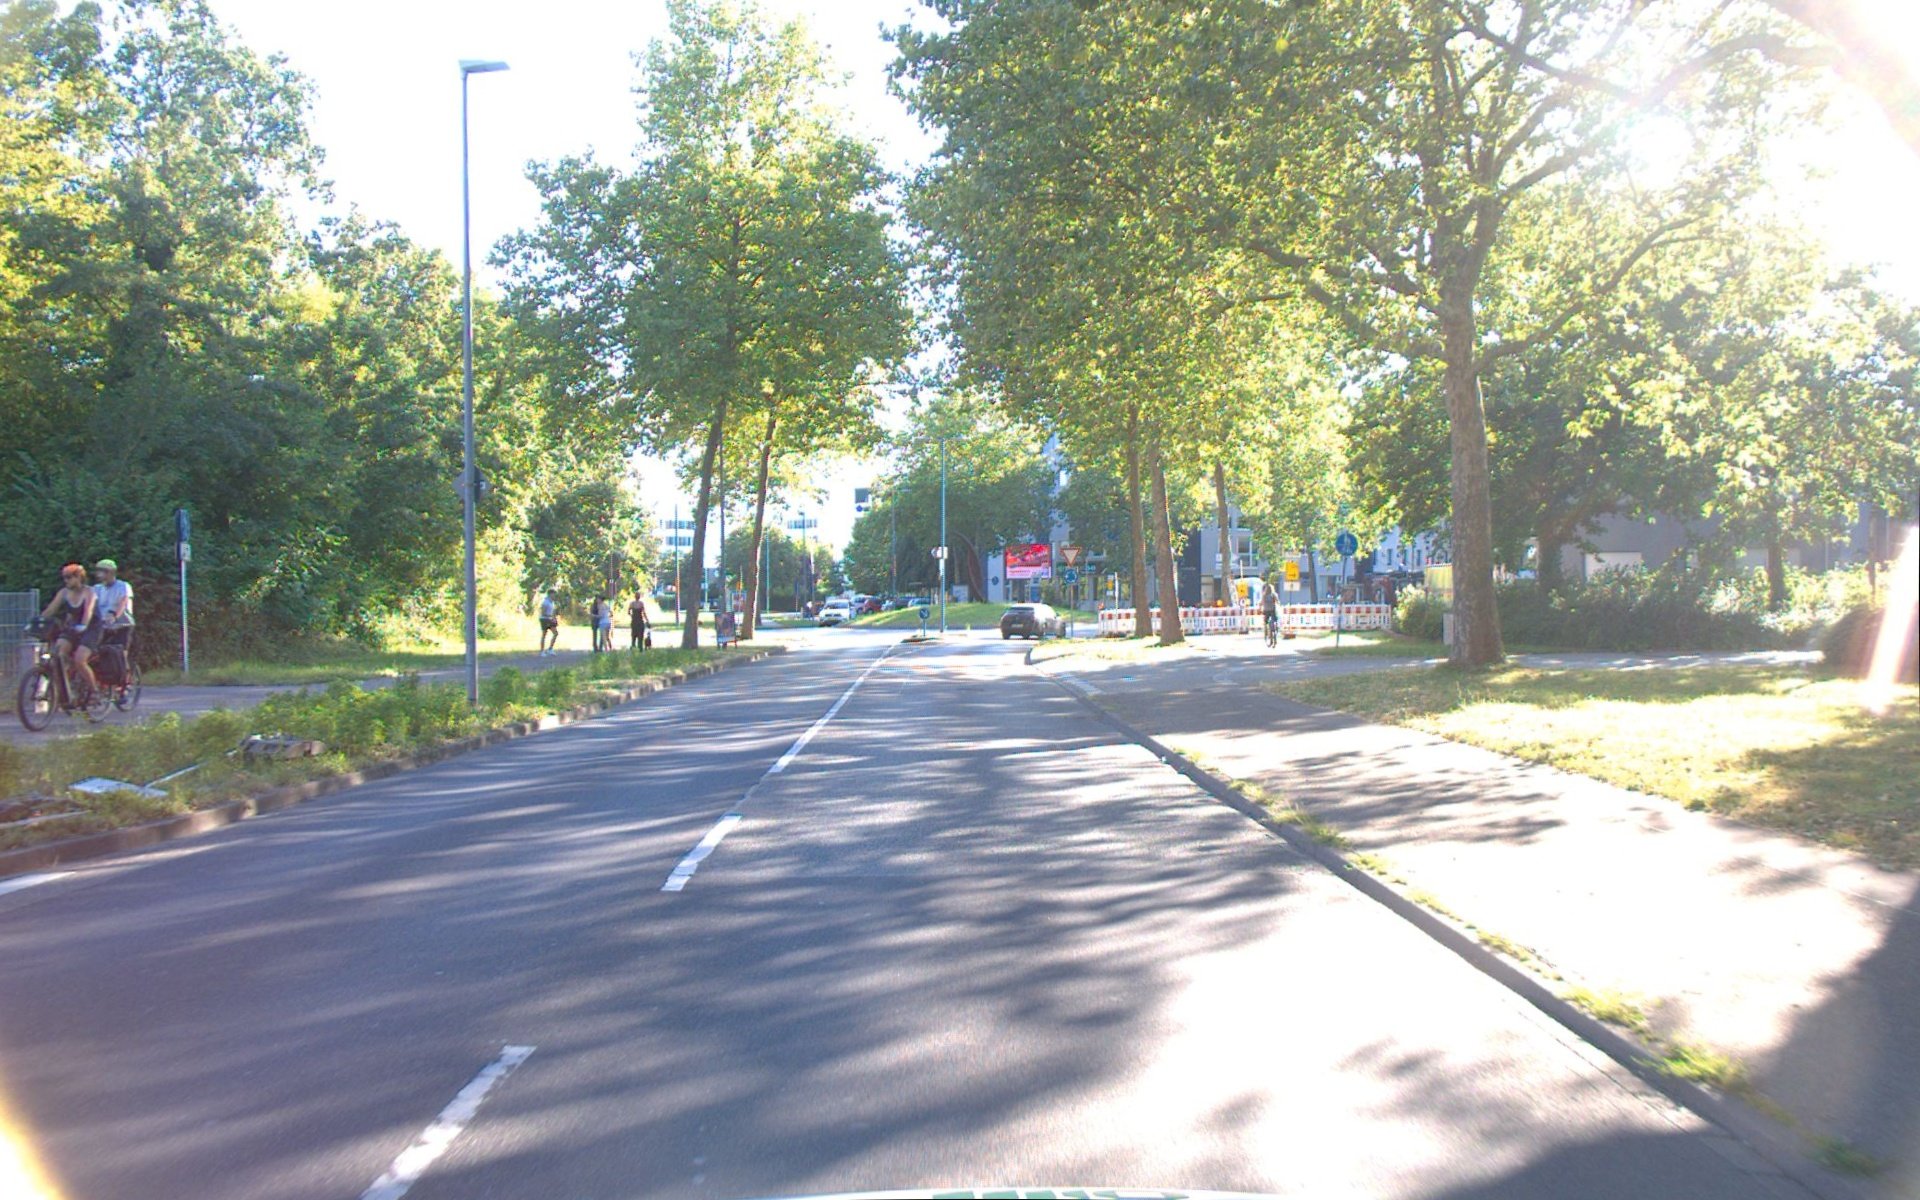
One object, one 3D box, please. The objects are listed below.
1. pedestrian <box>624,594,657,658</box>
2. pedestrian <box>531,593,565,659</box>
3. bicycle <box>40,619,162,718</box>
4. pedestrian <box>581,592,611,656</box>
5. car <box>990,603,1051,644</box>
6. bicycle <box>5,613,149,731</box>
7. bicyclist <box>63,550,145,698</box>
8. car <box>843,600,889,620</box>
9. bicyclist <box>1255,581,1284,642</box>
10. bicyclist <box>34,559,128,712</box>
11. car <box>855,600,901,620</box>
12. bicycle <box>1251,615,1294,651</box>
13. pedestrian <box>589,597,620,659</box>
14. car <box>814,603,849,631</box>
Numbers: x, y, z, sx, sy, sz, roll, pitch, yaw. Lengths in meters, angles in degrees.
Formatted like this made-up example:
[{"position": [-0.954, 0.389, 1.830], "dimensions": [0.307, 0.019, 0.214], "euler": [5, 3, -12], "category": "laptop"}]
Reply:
[{"position": [-8.984, 0.729, 46.543], "dimensions": [0.733, 1.769, 0.852], "euler": [0, -1, 1], "category": "pedestrian"}, {"position": [-11.053, 0.688, 44.359], "dimensions": [0.621, 1.769, 0.662], "euler": [-1, -1, 35], "category": "pedestrian"}, {"position": [-11.050, 0.863, 21.350], "dimensions": [0.567, 1.207, 2.031], "euler": [-1, -1, -2], "category": "bicycle"}, {"position": [-10.226, 0.673, 46.477], "dimensions": [0.651, 1.769, 0.751], "euler": [0, -1, 1], "category": "pedestrian"}, {"position": [2.526, 0.953, 68.310], "dimensions": [1.800, 1.633, 3.866], "euler": [0, 0, 13], "category": "car"}, {"position": [-10.133, 0.788, 19.069], "dimensions": [0.567, 1.267, 2.107], "euler": [-1, 0, -2], "category": "bicycle"}, {"position": [-11.056, 0.311, 21.375], "dimensions": [0.567, 1.864, 0.968], "euler": [-1, -1, -2], "category": "bicyclist"}, {"position": [-8.882, 0.965, 156.222], "dimensions": [3.945, 1.777, 1.777], "euler": [1, 0, -31], "category": "car"}, {"position": [8.911, 0.325, 47.659], "dimensions": [0.637, 1.735, 0.871], "euler": [1, 0, 0], "category": "bicyclist"}, {"position": [-10.135, 0.402, 19.100], "dimensions": [0.567, 1.709, 0.970], "euler": [-1, 0, -2], "category": "bicyclist"}, {"position": [-7.614, 0.937, 153.535], "dimensions": [3.945, 1.777, 1.777], "euler": [1, 0, -31], "category": "car"}, {"position": [8.912, 0.947, 47.283], "dimensions": [0.754, 0.981, 2.173], "euler": [-2, -1, -1], "category": "bicycle"}, {"position": [-9.568, 0.754, 44.557], "dimensions": [0.562, 1.666, 0.635], "euler": [0, -1, 18], "category": "pedestrian"}, {"position": [-7.596, 0.983, 98.080], "dimensions": [1.954, 1.606, 3.997], "euler": [0, 0, -3], "category": "car"}]
